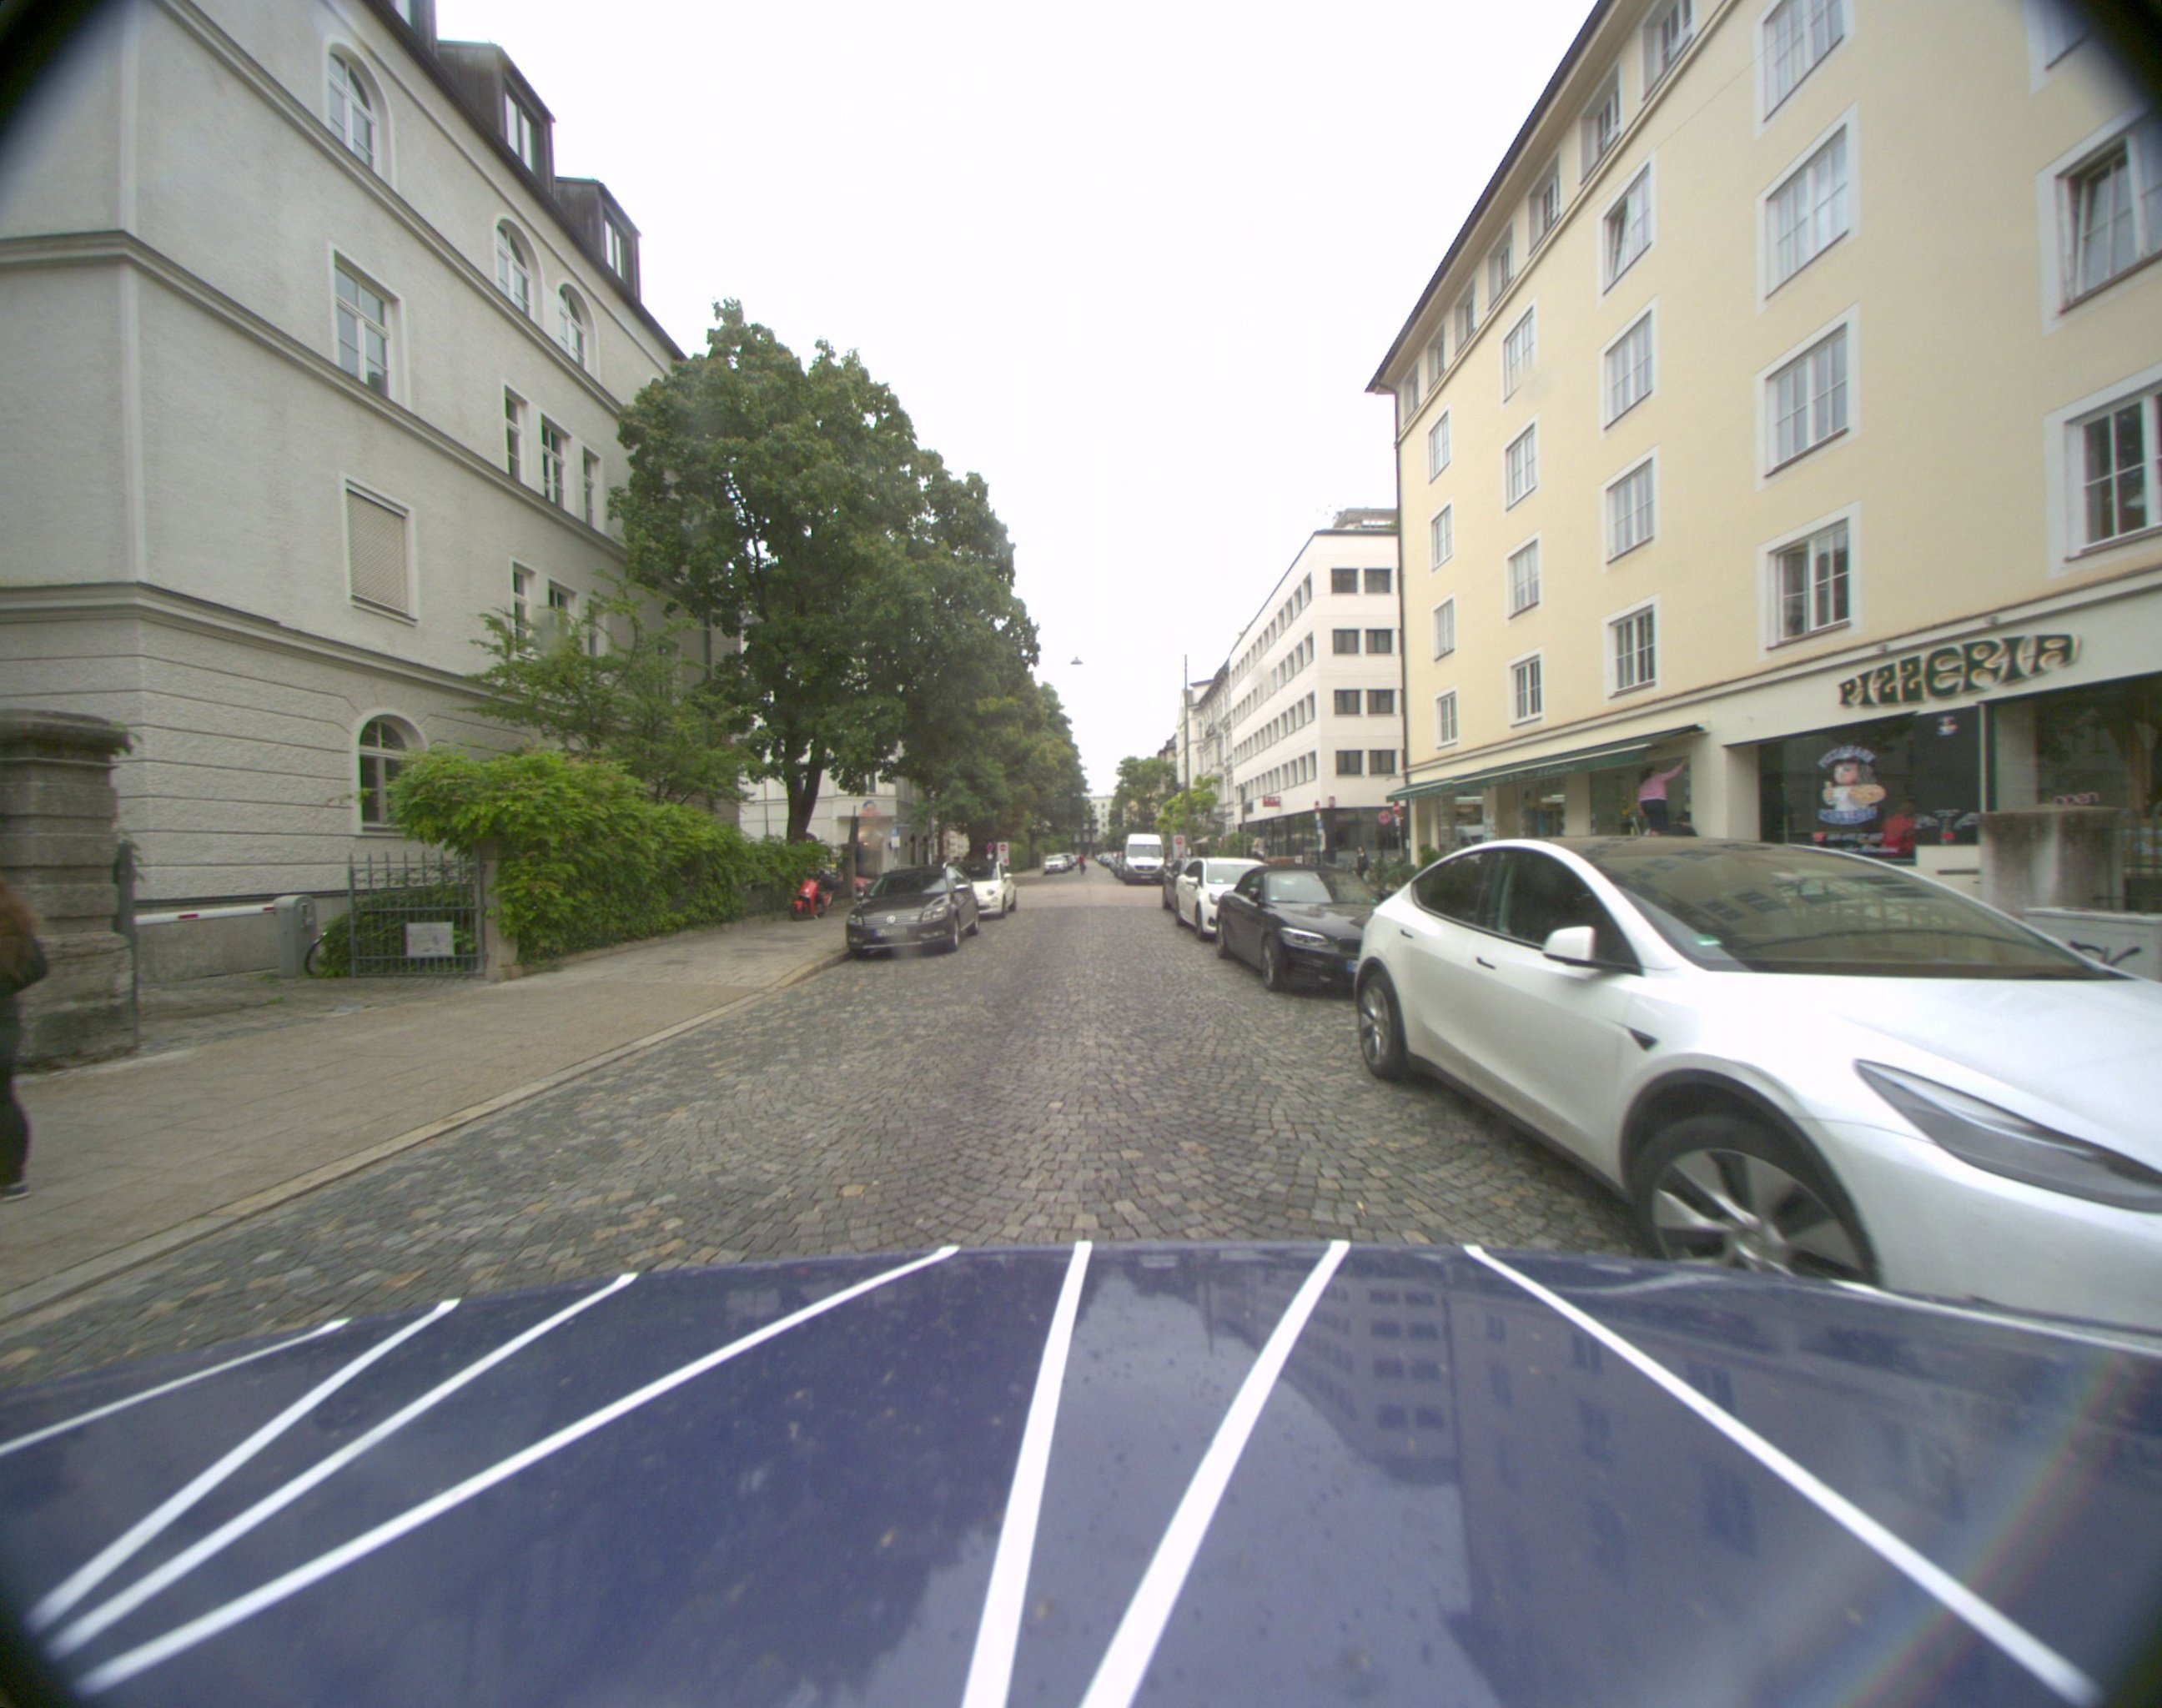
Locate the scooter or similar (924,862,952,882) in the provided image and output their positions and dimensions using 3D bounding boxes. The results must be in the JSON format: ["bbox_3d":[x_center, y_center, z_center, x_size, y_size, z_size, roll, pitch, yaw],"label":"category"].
[{"bbox_3d":[-8.266,1.028,43.845,1.604,1.166,0.405,-1,2,24],"label":"scooter or similar"}]

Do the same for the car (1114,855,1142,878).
[{"bbox_3d":[3.150,0.819,51.398,1.730,1.456,4.473,0,0,2],"label":"car"}]

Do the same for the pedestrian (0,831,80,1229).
[{"bbox_3d":[-5.302,0.818,3.449,0.577,1.839,0.682,-1,1,8],"label":"pedestrian"}]

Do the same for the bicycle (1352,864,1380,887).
[{"bbox_3d":[12.995,0.950,34.708,0.398,0.963,1.893,-2,1,-5],"label":"bicycle"}]

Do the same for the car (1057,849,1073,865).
[{"bbox_3d":[-1.971,0.358,94.546,1.818,1.809,4.808,-1,1,0],"label":"car"}]

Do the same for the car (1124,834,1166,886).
[{"bbox_3d":[3.270,0.256,39.989,1.981,2.559,5.794,0,1,3],"label":"car"}]

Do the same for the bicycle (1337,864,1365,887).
[{"bbox_3d":[12.288,0.963,34.630,0.398,0.963,1.893,-2,1,-5],"label":"bicycle"}]

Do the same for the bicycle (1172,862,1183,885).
[{"bbox_3d":[4.905,0.969,38.629,0.286,1.085,1.815,-2,0,-1],"label":"bicycle"}]

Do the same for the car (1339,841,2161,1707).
[{"bbox_3d":[2.744,0.799,3.369,1.778,1.638,4.391,-2,1,2],"label":"car"}]

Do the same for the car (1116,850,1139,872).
[{"bbox_3d":[3.730,0.545,61.601,1.722,1.713,3.898,-1,1,1],"label":"car"}]

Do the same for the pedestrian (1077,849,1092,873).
[{"bbox_3d":[0.294,0.543,59.203,1.105,1.768,1.263,-2,1,1],"label":"pedestrian"}]

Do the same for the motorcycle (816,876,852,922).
[{"bbox_3d":[-6.411,1.147,19.796,0.363,1.084,1.404,-2,1,3],"label":"motorcycle"}]

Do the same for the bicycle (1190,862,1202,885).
[{"bbox_3d":[5.793,0.953,38.450,0.286,1.085,1.815,-2,1,0],"label":"bicycle"}]

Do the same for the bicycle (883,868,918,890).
[{"bbox_3d":[-9.249,1.270,38.991,1.605,1.063,0.738,0,4,4],"label":"bicycle"}]

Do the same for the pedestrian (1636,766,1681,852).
[{"bbox_3d":[11.218,-0.864,14.780,0.478,1.633,0.497,-2,1,5],"label":"pedestrian"}]

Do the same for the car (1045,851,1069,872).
[{"bbox_3d":[-2.146,0.671,69.481,1.925,1.676,4.633,-2,1,2],"label":"car"}]

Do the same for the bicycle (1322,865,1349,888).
[{"bbox_3d":[11.549,0.991,34.533,0.398,0.963,1.893,-2,1,-5],"label":"bicycle"}]

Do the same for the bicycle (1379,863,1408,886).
[{"bbox_3d":[14.324,0.911,34.860,0.398,0.963,1.893,-2,1,-5],"label":"bicycle"}]

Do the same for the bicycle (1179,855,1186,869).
[{"bbox_3d":[8.302,0.648,62.329,0.258,1.072,1.686,-2,0,-3],"label":"bicycle"}]

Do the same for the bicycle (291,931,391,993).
[{"bbox_3d":[-9.790,1.412,10.082,0.261,0.674,1.037,-1,0,2],"label":"bicycle"}]

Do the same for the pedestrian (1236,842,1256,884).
[{"bbox_3d":[7.502,0.400,34.504,0.615,1.830,0.813,-2,1,-6],"label":"pedestrian"}]

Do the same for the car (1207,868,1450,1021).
[{"bbox_3d":[2.836,0.950,9.802,1.778,1.351,4.391,-2,1,2],"label":"car"}]

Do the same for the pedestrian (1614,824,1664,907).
[{"bbox_3d":[11.325,0.225,15.431,0.523,1.633,0.629,-2,1,0],"label":"pedestrian"}]

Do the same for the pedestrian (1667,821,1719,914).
[{"bbox_3d":[11.347,0.241,14.097,0.462,1.680,0.574,-2,1,1],"label":"pedestrian"}]

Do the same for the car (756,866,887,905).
[{"bbox_3d":[-10.105,1.220,29.705,4.476,1.350,1.761,-1,0,8],"label":"car"}]

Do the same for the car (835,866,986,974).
[{"bbox_3d":[-2.932,1.054,14.089,1.652,1.414,4.631,-5,1,0],"label":"car"}]

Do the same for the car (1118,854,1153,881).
[{"bbox_3d":[3.239,0.778,45.622,1.666,1.474,3.981,-2,1,-1],"label":"car"}]

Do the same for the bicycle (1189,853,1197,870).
[{"bbox_3d":[8.093,0.510,55.040,0.361,1.168,1.911,-2,1,3],"label":"bicycle"}]

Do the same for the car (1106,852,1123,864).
[{"bbox_3d":[4.187,0.454,94.333,1.886,1.411,4.808,-1,0,0],"label":"car"}]

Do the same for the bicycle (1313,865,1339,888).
[{"bbox_3d":[11.086,1.011,34.488,0.398,0.963,1.893,-2,1,-5],"label":"bicycle"}]

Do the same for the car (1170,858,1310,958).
[{"bbox_3d":[2.914,0.905,14.910,1.778,1.527,4.540,-2,1,1],"label":"car"}]

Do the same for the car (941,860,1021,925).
[{"bbox_3d":[-2.582,0.963,20.382,1.505,1.462,3.795,-2,1,2],"label":"car"}]

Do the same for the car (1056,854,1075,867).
[{"bbox_3d":[-1.682,0.679,81.705,1.924,1.290,4.807,-1,0,-3],"label":"car"}]

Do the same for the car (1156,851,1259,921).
[{"bbox_3d":[3.240,0.751,20.425,1.857,1.577,4.747,-2,1,-1],"label":"car"}]

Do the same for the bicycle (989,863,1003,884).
[{"bbox_3d":[-4.793,1.092,42.749,0.389,1.140,1.590,-1,1,8],"label":"bicycle"}]

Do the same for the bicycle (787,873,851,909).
[{"bbox_3d":[-8.293,1.169,24.076,1.841,1.117,0.563,-1,1,11],"label":"bicycle"}]
